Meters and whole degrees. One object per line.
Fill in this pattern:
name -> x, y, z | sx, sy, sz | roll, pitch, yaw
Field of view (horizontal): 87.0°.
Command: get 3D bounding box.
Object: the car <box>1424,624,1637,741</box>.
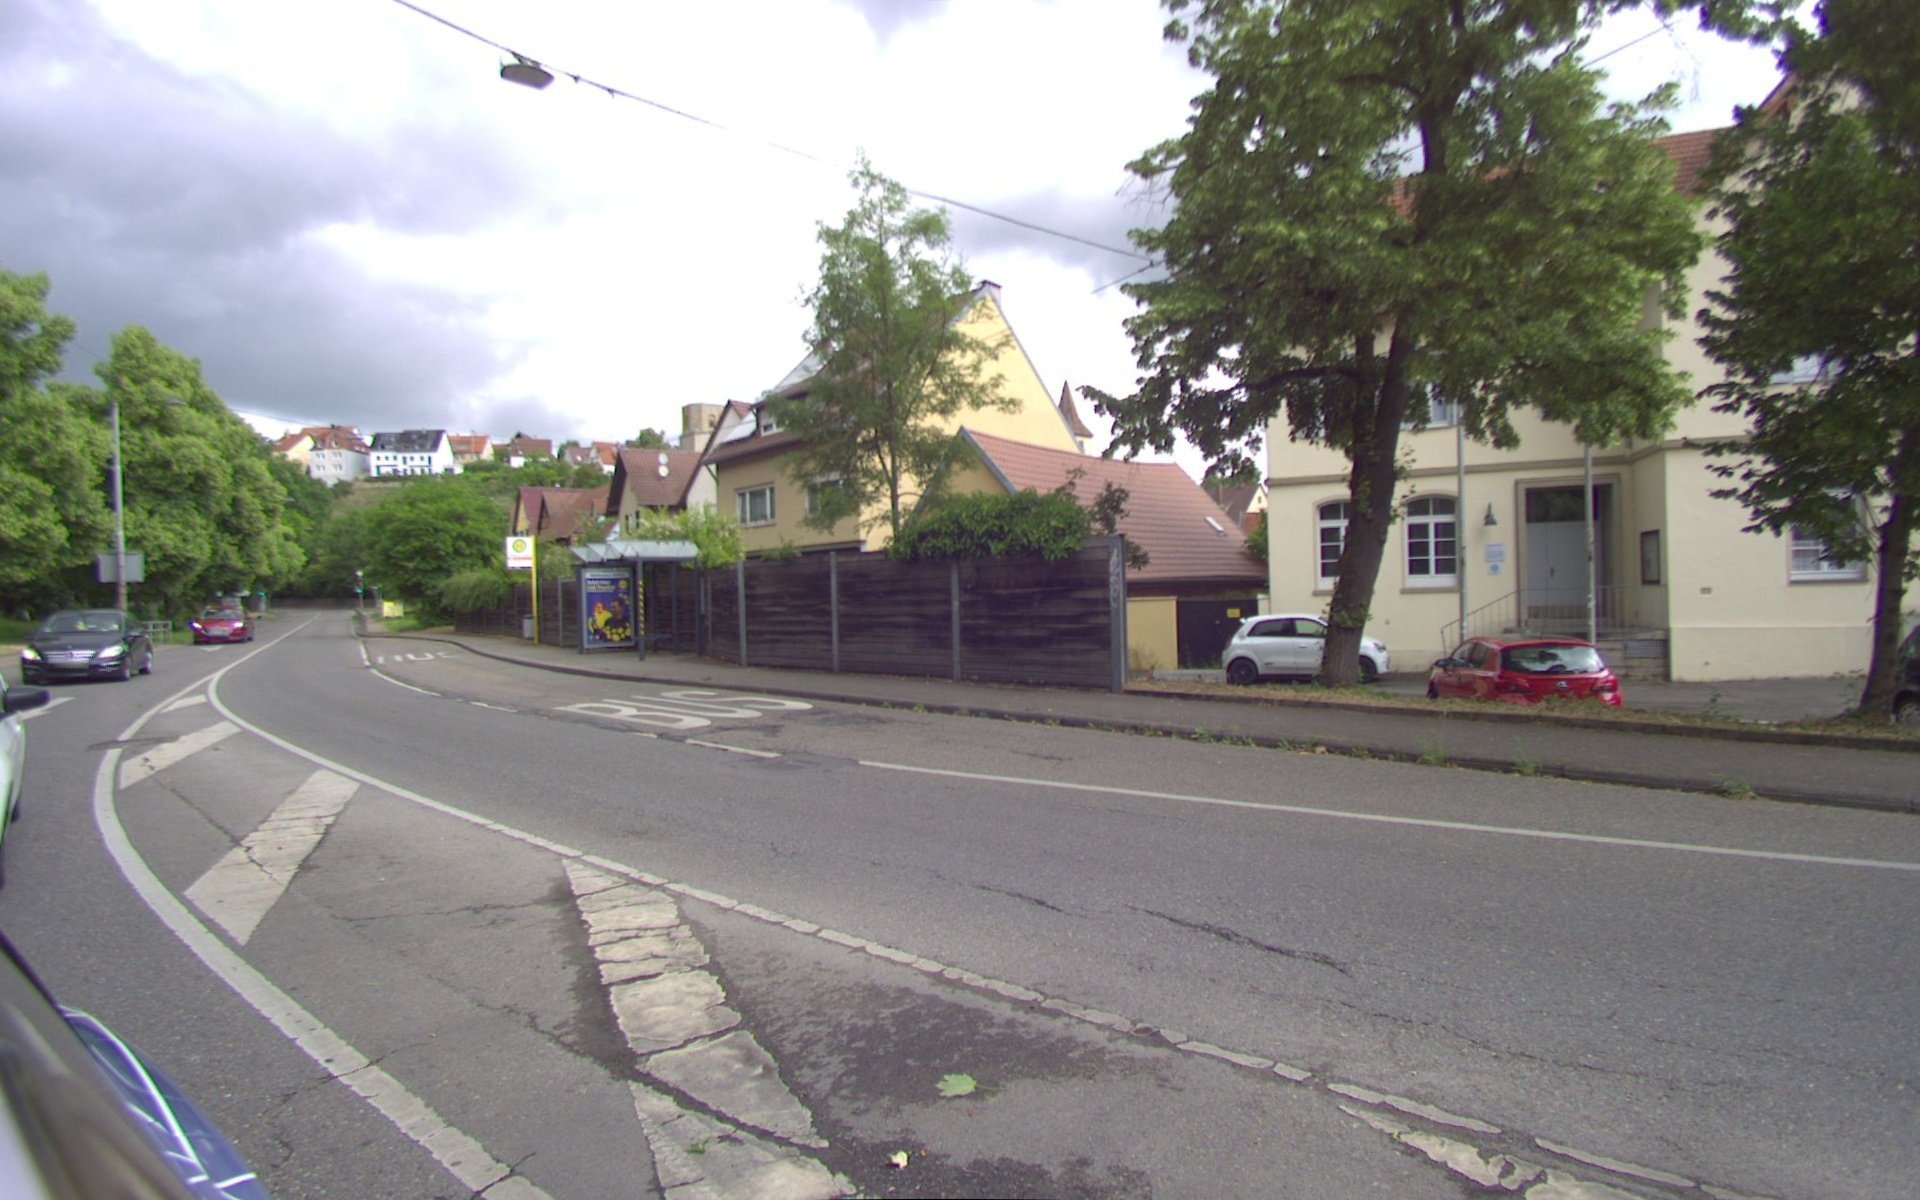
car -> 8.127, 1.105, 14.768 | 1.590, 1.389, 3.544 | -1, 0, 10

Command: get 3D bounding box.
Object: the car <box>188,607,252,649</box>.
car -> -32.468, 1.187, 44.492 | 1.798, 1.685, 4.070 | -1, 0, -30

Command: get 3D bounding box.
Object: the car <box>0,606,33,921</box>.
car -> -6.427, 0.822, 5.737 | 1.594, 1.525, 3.610 | -1, 0, -41

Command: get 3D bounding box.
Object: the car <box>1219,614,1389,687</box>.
car -> 7.748, 1.109, 22.923 | 3.487, 1.528, 1.581 | -1, 0, 20

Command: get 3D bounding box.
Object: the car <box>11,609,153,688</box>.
car -> -19.289, 0.994, 22.395 | 1.696, 1.559, 3.793 | -1, 0, -31

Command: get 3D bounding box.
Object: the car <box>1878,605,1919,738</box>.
car -> 12.700, 0.889, 11.584 | 1.586, 1.644, 3.093 | -1, 0, 2
